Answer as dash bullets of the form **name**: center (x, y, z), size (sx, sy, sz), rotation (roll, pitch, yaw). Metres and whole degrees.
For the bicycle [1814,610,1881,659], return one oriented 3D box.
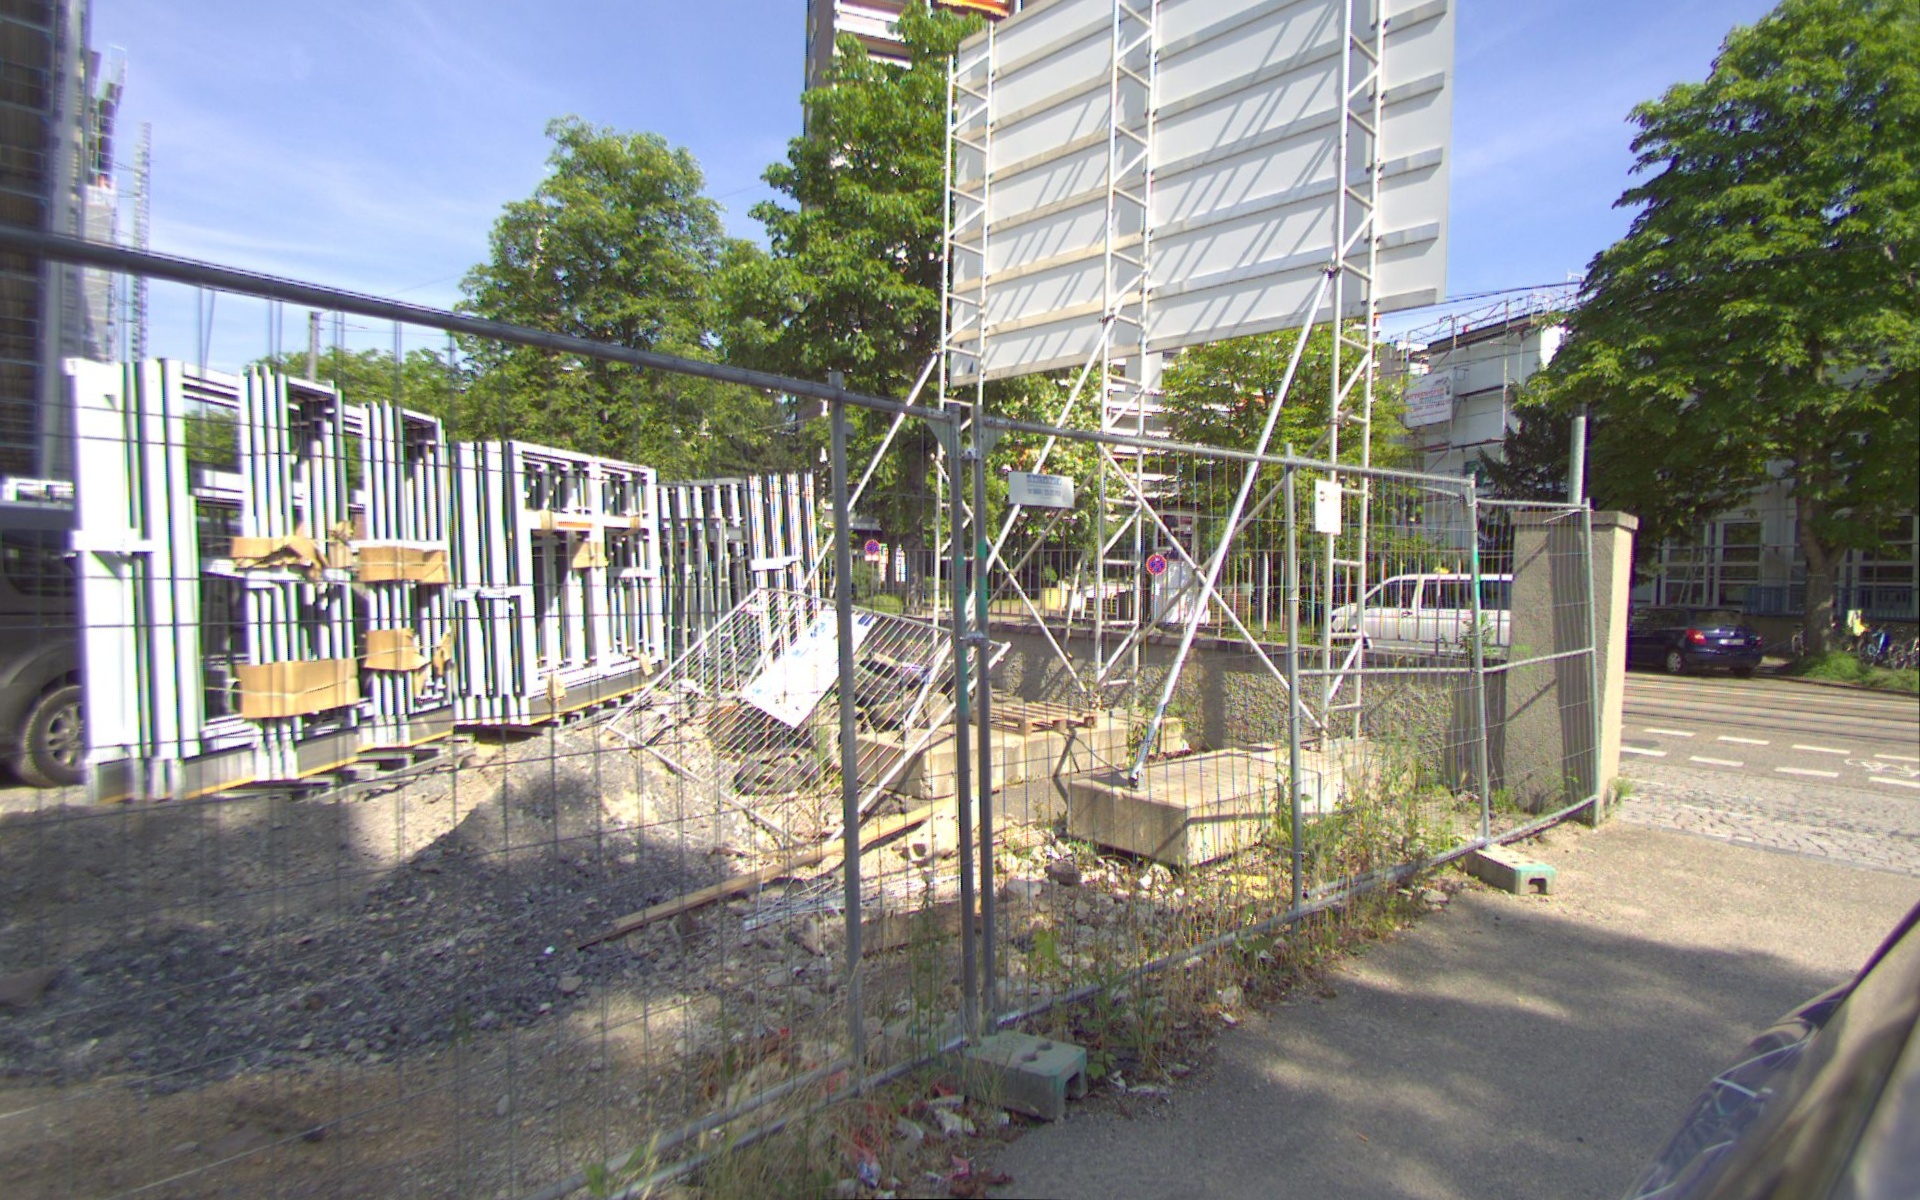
- **bicycle**: center (22.989, 0.900, 26.215), size (1.975, 1.215, 0.490), rotation (2, 1, -24)

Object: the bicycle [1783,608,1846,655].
- **bicycle**: center (22.843, 0.853, 27.049), size (1.975, 1.215, 0.490), rotation (2, 1, -26)

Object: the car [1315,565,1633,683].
- **car**: center (9.966, 0.368, 20.011), size (1.962, 1.970, 5.239), rotation (2, 1, -43)

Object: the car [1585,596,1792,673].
- **car**: center (16.078, 0.695, 22.615), size (1.622, 1.470, 4.001), rotation (2, 1, -1)

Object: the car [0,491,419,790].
- **car**: center (-6.518, 0.200, 7.986), size (1.888, 1.802, 4.306), rotation (0, 1, 6)

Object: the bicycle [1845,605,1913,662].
- **bicycle**: center (23.201, 0.852, 25.551), size (1.975, 1.395, 0.490), rotation (2, 0, -24)

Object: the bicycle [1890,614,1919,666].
- **bicycle**: center (23.578, 0.973, 24.714), size (1.975, 1.215, 0.490), rotation (2, 1, -24)
